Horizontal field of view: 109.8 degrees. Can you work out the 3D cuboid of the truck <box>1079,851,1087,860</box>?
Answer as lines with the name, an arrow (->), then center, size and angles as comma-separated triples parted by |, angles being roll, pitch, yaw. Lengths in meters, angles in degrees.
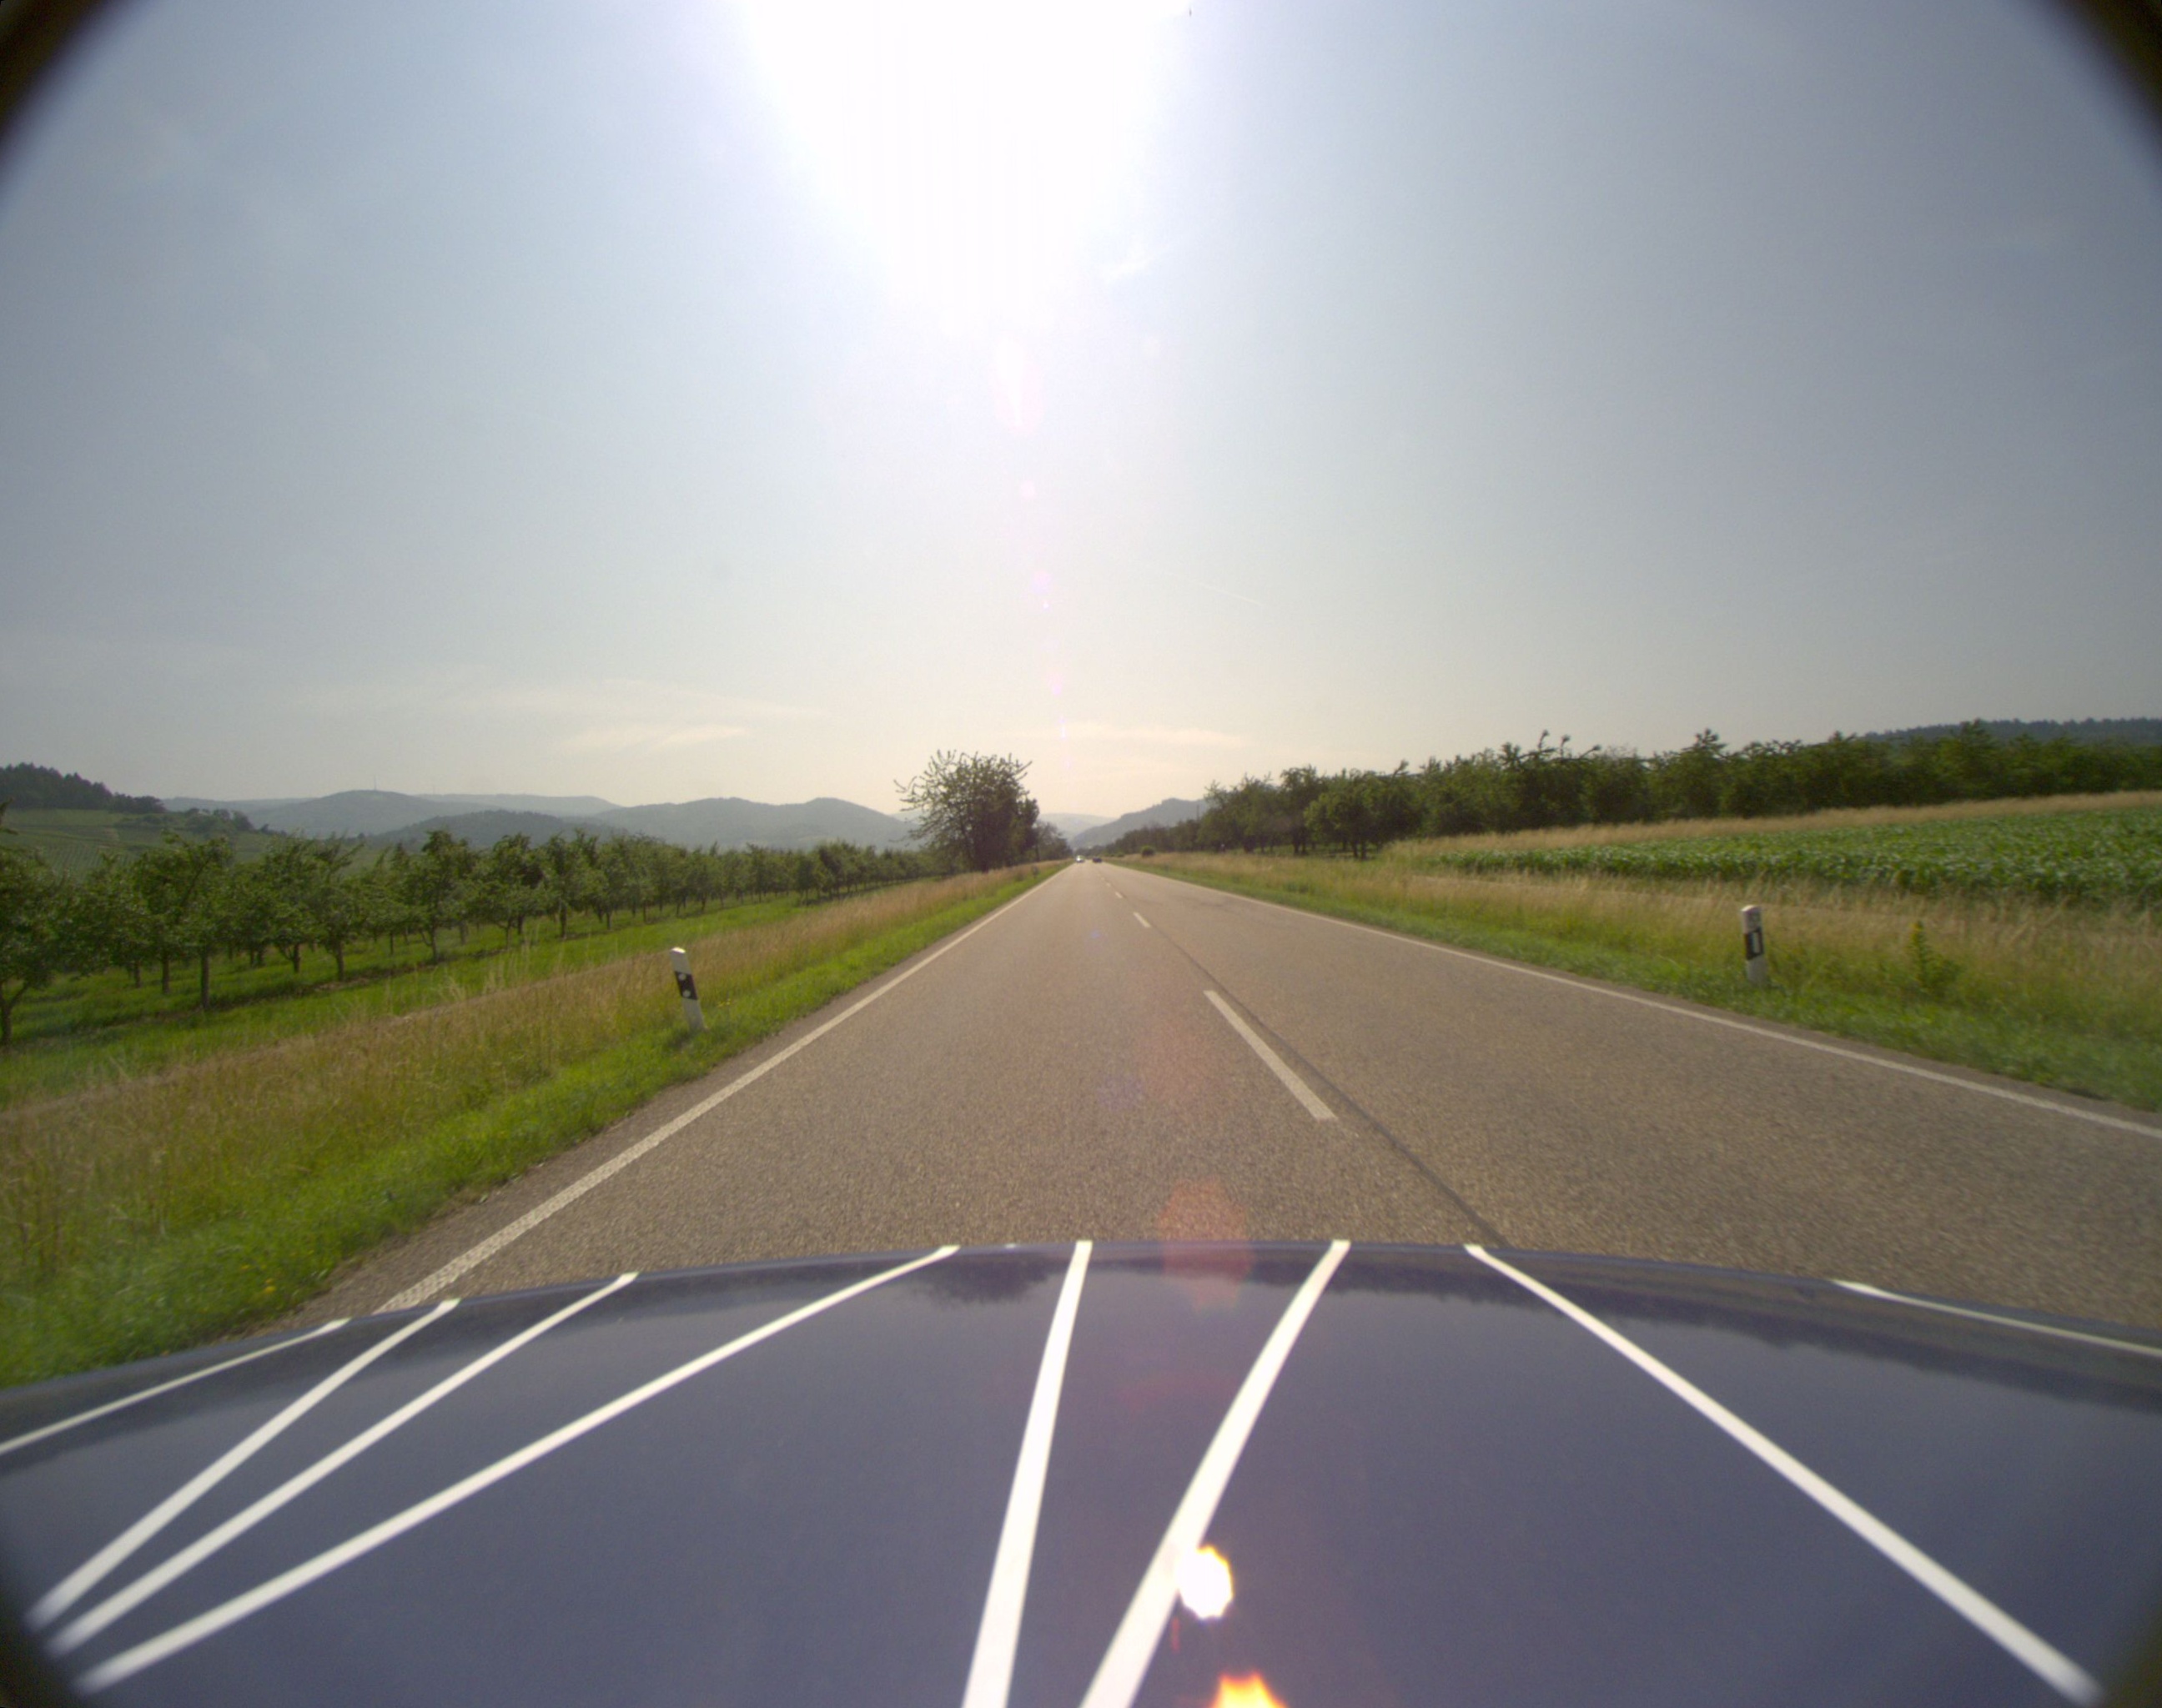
truck -> 0.530, 0.387, 211.589 | 2.031, 2.232, 4.765 | -2, 1, 3
